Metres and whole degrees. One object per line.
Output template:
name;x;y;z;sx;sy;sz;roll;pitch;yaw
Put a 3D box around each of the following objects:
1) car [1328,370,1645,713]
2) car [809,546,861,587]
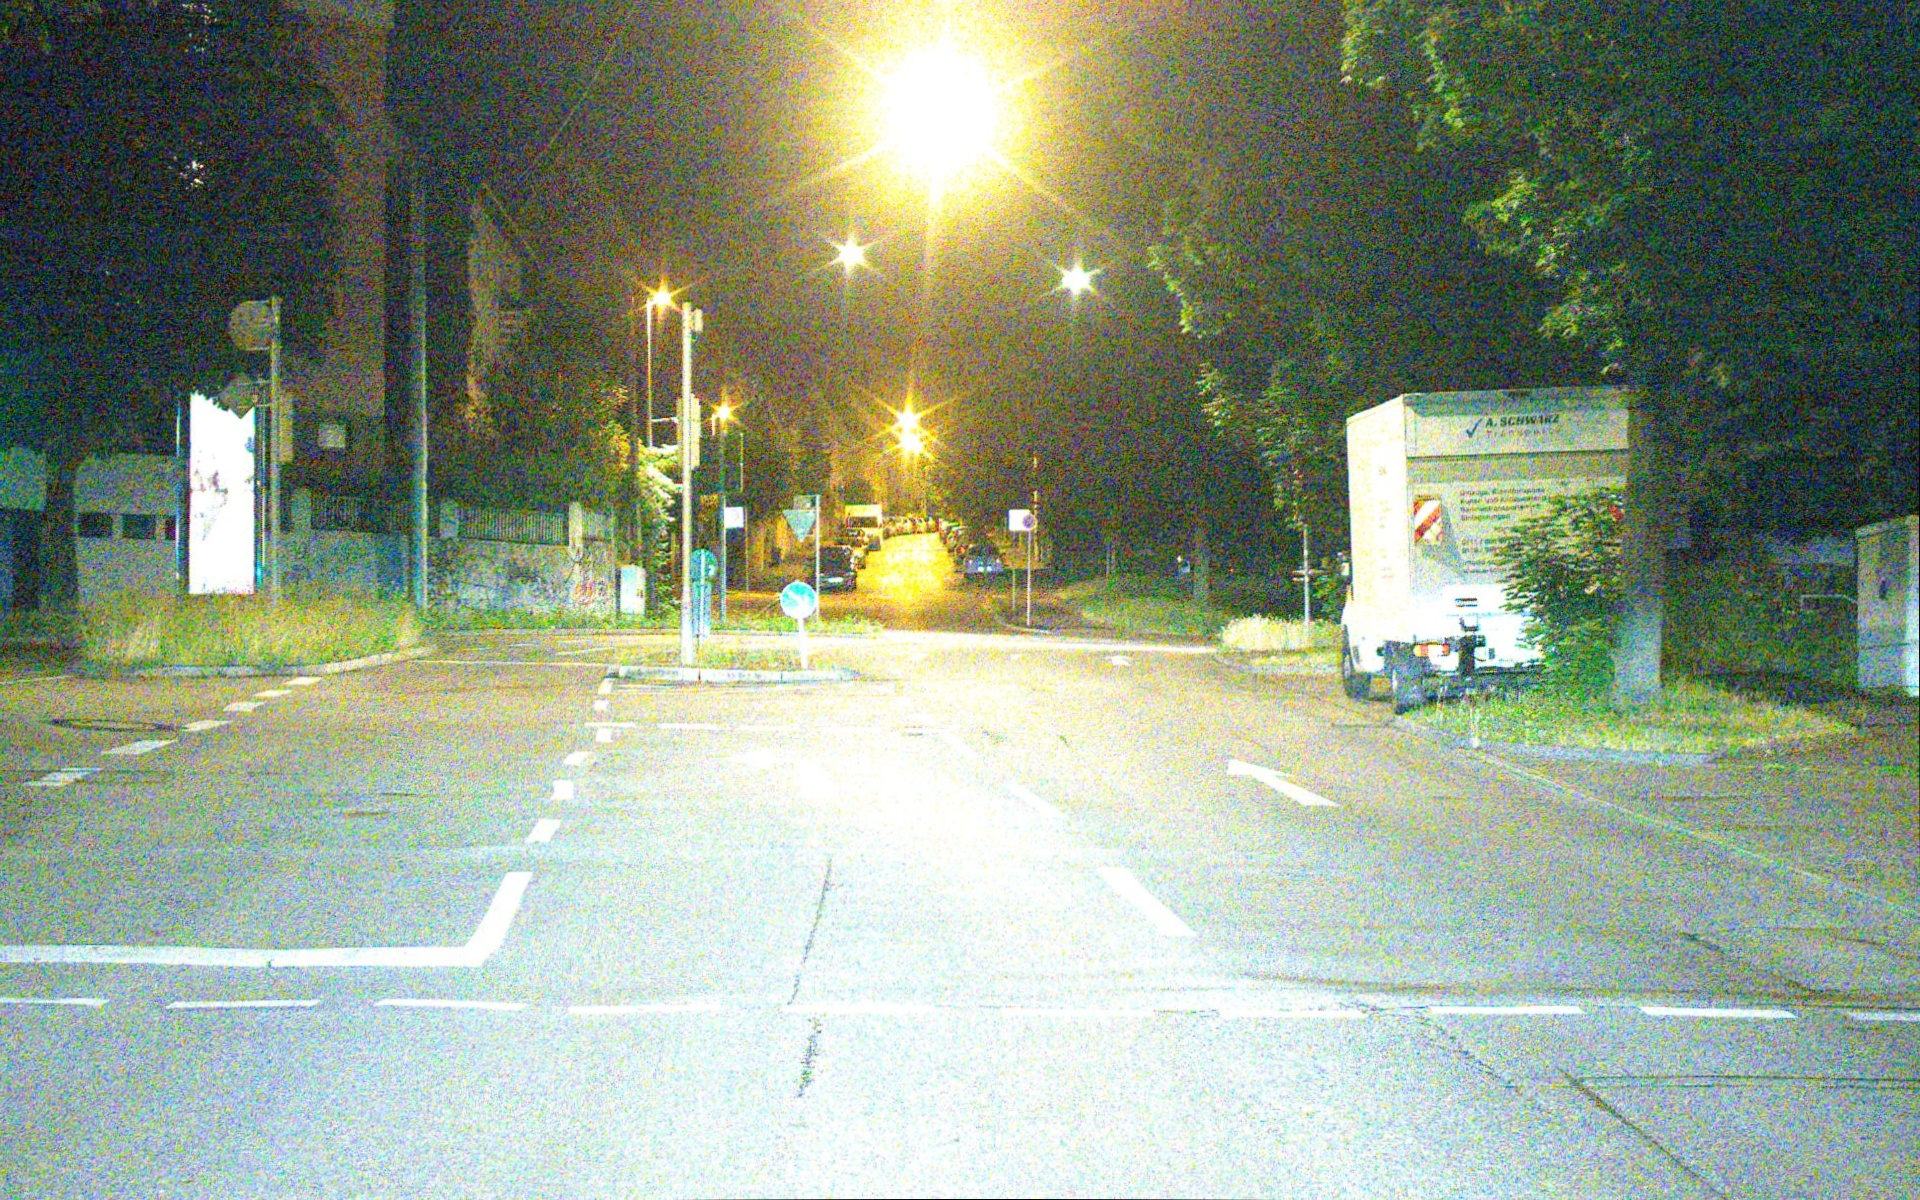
car;5.117;-0.566;34.278;2.297;3.082;5.840;-1;1;1
car;-4.861;-1.296;134.407;1.908;1.552;3.904;1;1;-1
